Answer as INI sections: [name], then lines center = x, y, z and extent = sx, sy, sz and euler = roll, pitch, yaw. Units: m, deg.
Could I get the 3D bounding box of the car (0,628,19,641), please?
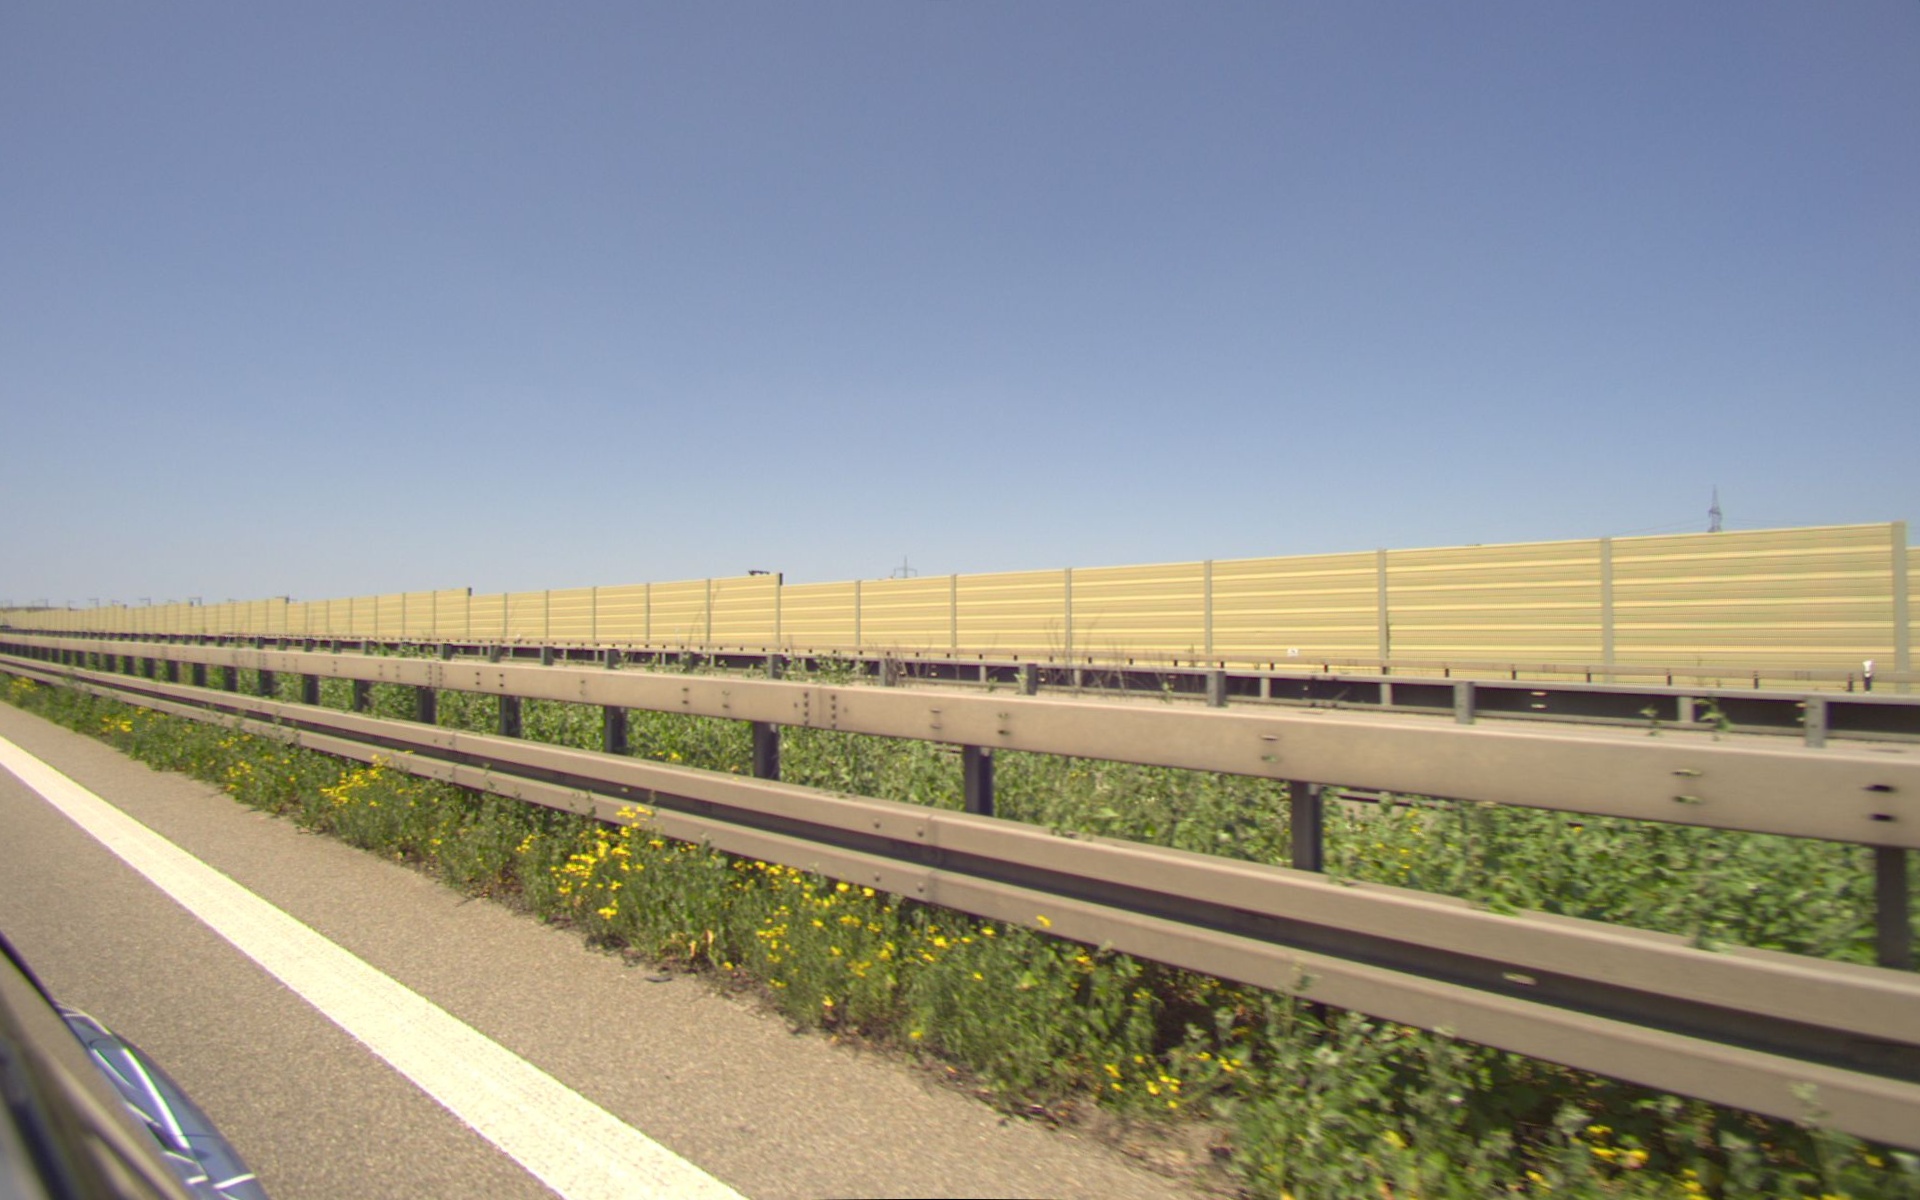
[car]
center = -116.585, 4.173, 123.486
extent = 4.810, 1.475, 1.973
euler = -1, -2, 41
